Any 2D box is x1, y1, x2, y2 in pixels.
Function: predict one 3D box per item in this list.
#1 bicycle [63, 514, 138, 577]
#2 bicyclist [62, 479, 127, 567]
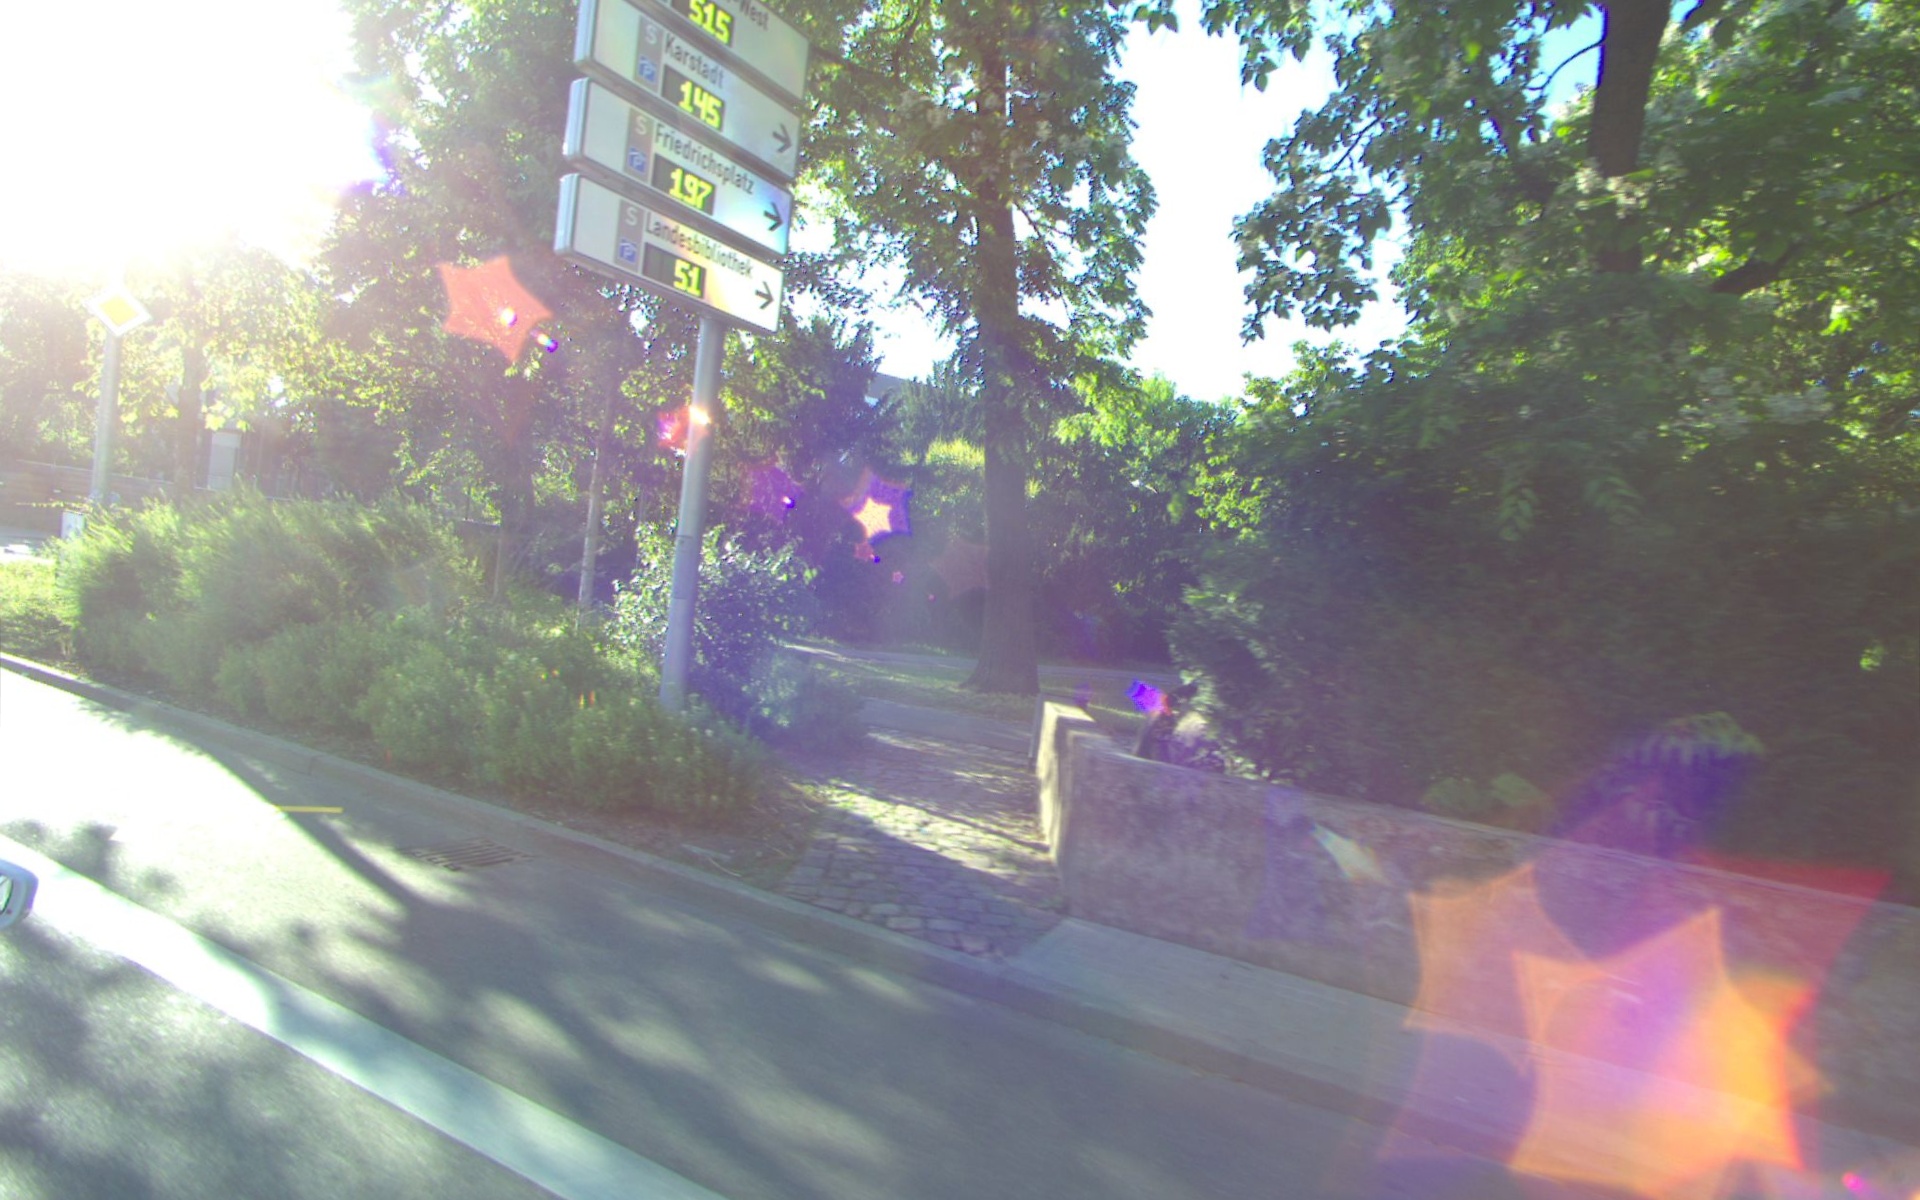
[{"bbox_3d":[-17.221,-1.096,20.146,1.878,1.075,0.428,7,1,28],"label":"bicycle"},{"bbox_3d":[-17.250,-1.531,20.060,0.887,1.635,0.585,7,1,27],"label":"bicyclist"}]
